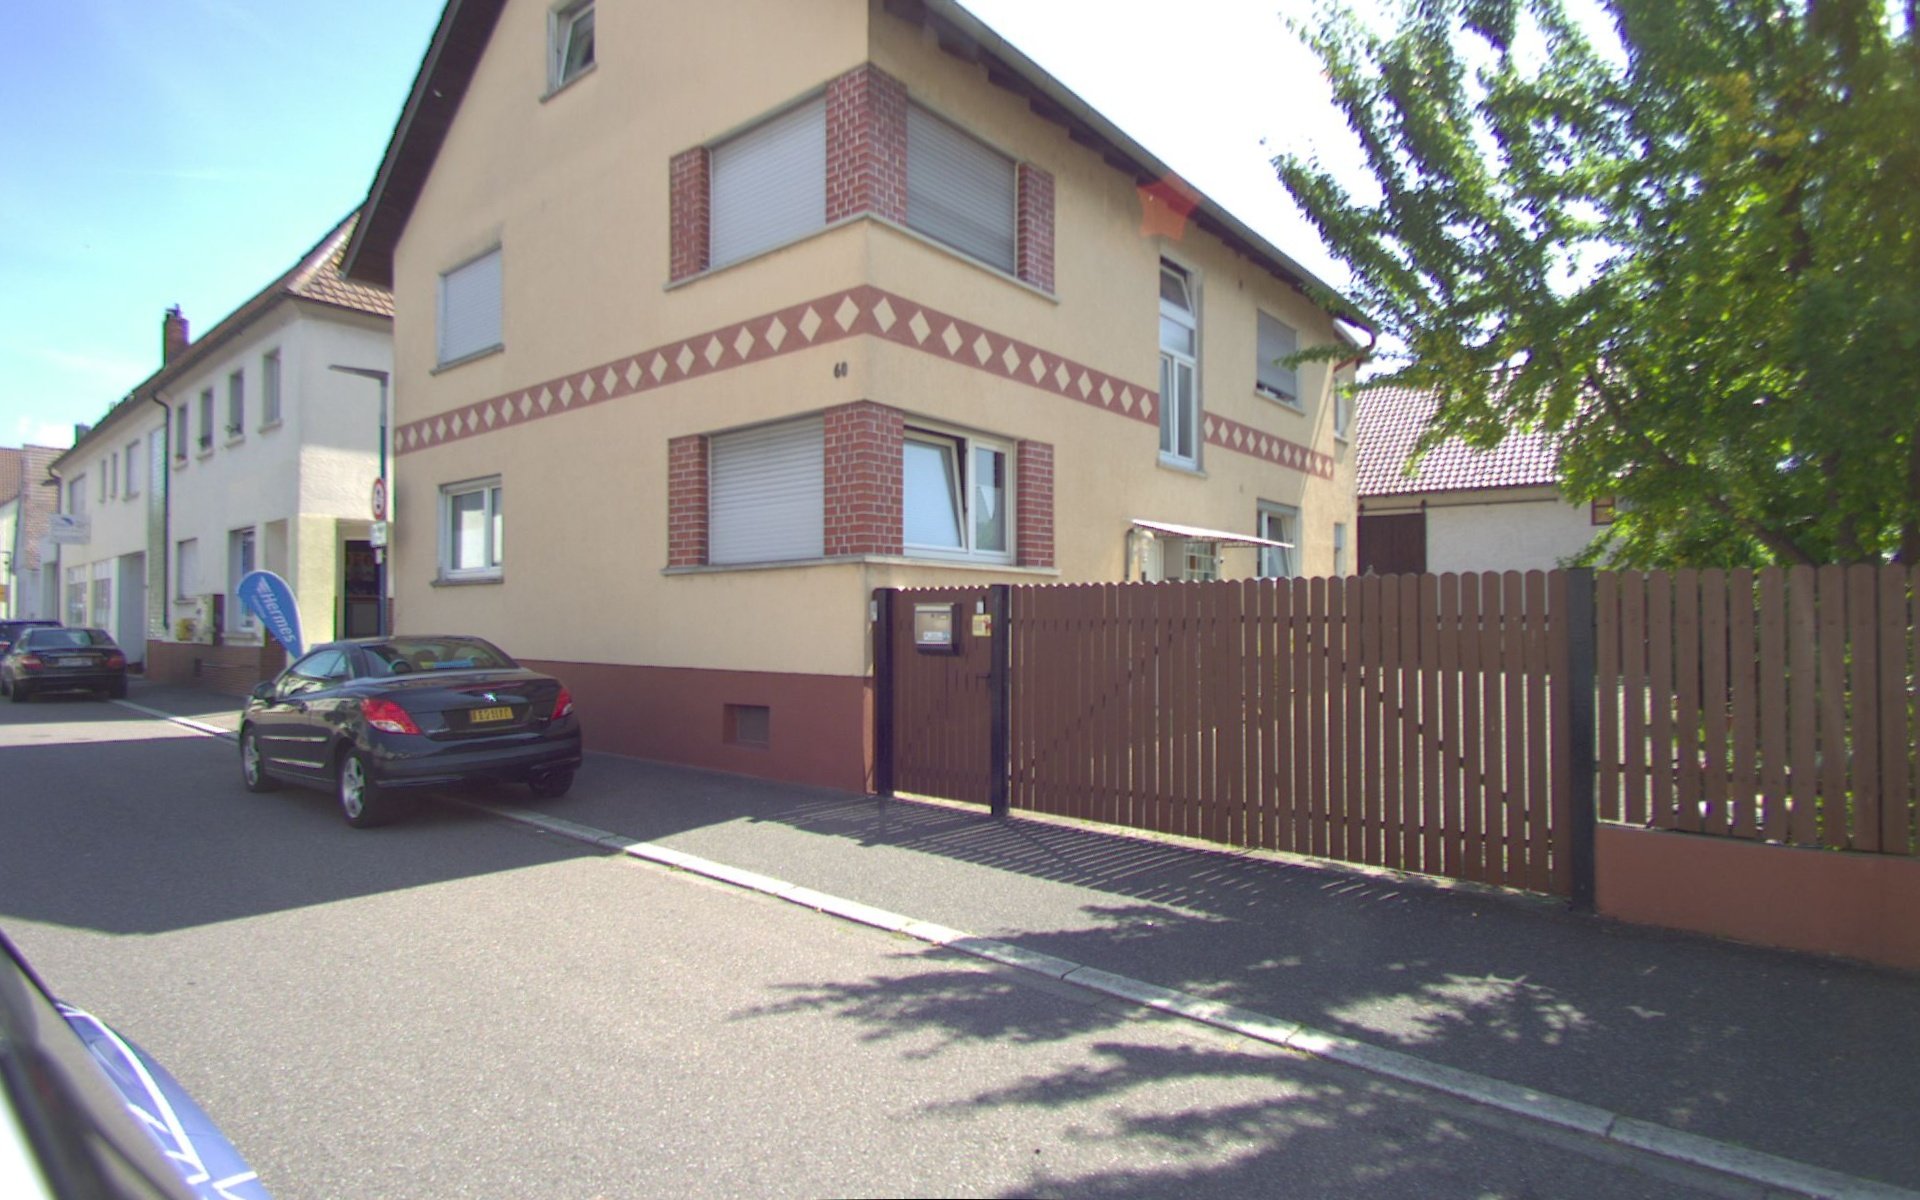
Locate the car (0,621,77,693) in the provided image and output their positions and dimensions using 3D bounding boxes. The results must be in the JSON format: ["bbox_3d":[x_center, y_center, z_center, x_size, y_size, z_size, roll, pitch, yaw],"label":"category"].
[{"bbox_3d":[-23.410,1.383,25.065,4.146,1.652,1.699,-2,-4,41],"label":"car"}]

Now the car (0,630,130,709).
[{"bbox_3d":[-18.492,1.349,20.717,4.389,1.422,1.679,-1,-2,42],"label":"car"}]

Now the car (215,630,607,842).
[{"bbox_3d":[-4.952,0.982,8.872,4.065,1.384,1.743,-1,-1,42],"label":"car"}]
